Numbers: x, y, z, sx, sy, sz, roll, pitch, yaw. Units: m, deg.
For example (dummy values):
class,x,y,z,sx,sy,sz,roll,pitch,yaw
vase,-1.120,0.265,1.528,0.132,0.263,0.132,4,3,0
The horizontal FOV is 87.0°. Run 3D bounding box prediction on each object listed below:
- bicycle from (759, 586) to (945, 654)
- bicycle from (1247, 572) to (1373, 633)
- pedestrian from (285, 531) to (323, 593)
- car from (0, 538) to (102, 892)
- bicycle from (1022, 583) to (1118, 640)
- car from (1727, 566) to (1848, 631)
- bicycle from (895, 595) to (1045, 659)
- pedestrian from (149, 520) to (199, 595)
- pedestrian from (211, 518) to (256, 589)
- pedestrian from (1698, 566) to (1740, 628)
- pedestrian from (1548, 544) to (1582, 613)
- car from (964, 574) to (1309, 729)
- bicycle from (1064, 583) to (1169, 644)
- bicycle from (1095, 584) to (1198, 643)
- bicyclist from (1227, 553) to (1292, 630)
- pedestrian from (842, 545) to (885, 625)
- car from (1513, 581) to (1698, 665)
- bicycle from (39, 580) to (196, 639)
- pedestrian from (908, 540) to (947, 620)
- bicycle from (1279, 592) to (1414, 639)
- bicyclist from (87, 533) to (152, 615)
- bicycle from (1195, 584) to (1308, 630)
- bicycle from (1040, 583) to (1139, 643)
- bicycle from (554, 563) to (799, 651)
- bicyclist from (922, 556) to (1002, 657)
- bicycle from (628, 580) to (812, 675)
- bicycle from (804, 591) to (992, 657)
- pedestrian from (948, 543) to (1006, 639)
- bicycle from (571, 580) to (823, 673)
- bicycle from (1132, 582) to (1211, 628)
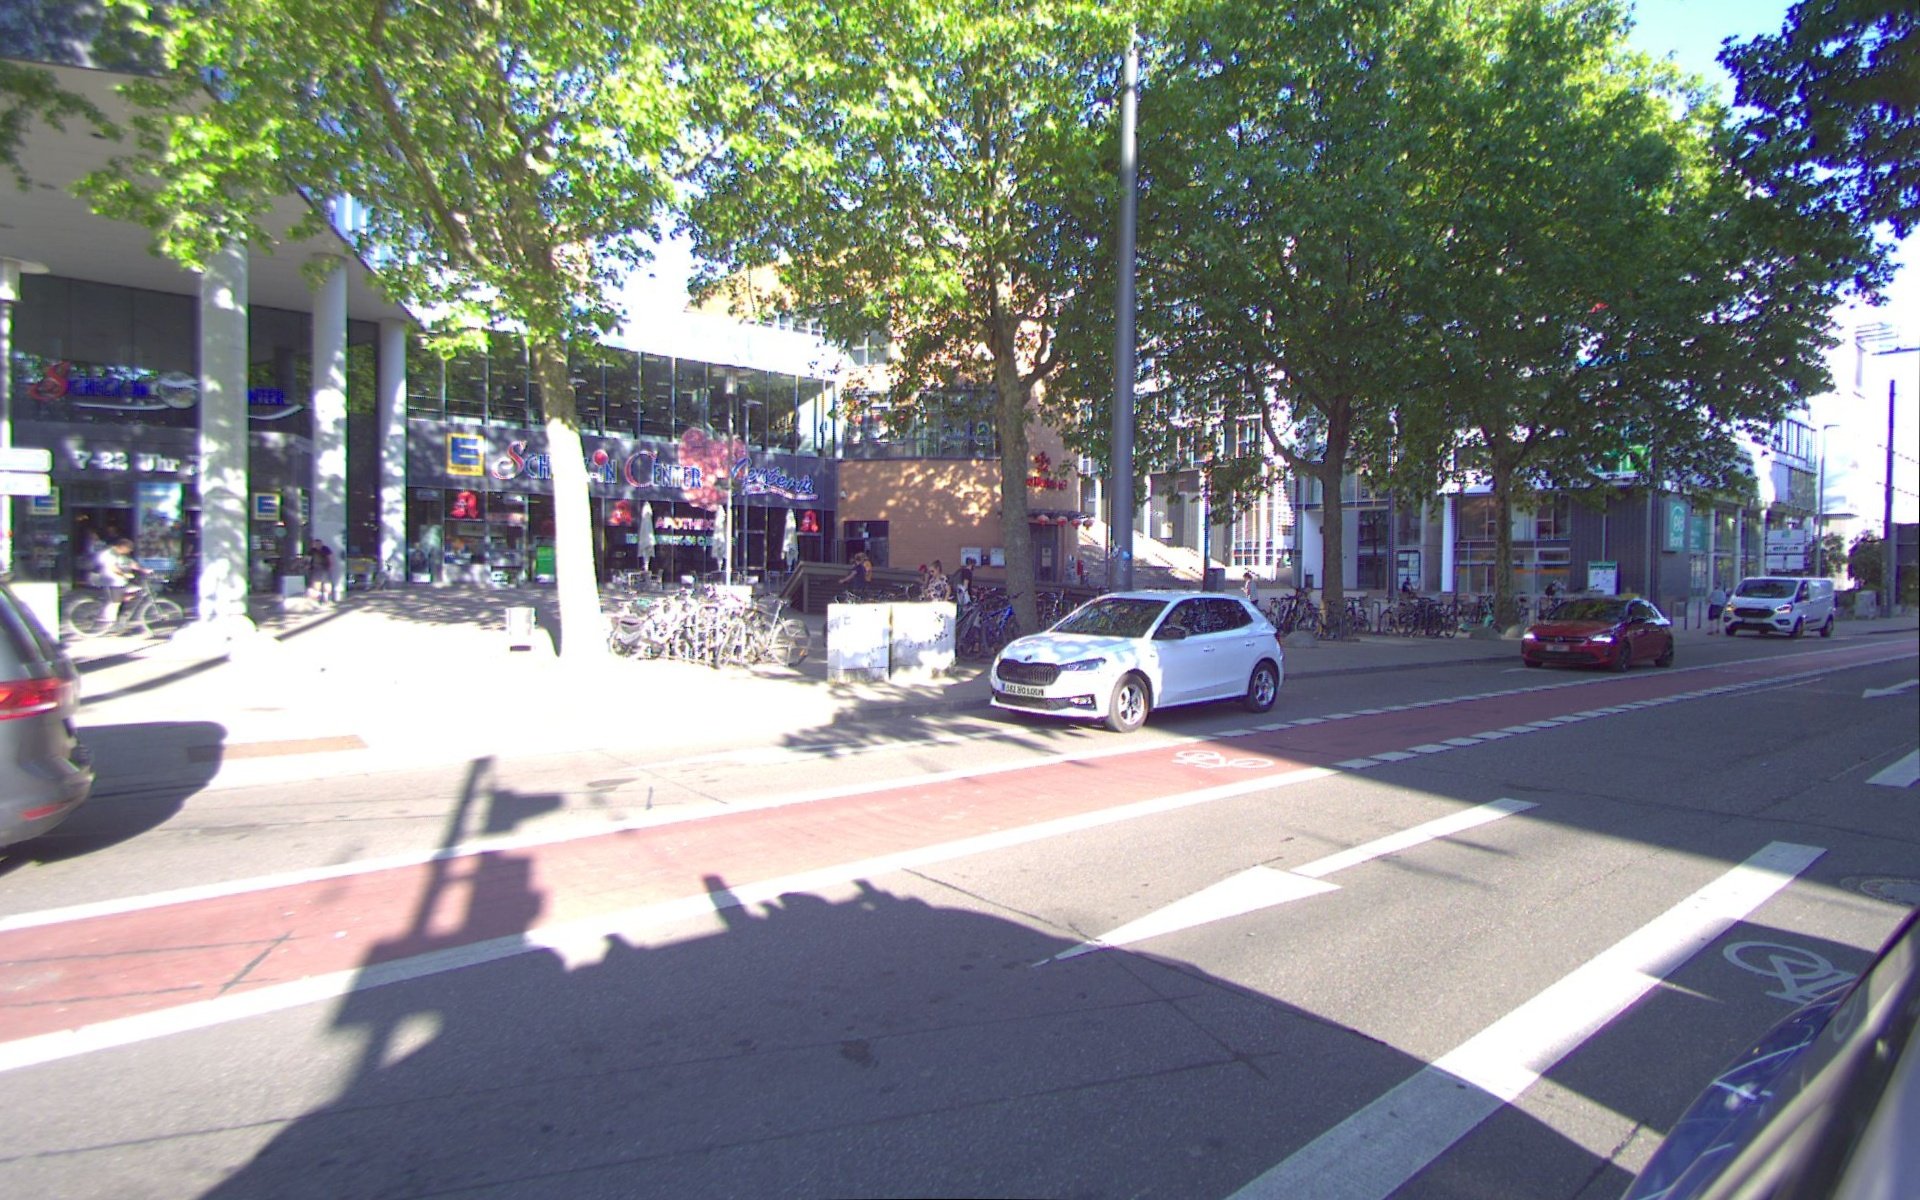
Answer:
class,x,y,z,sx,sy,sz,roll,pitch,yaw
bicycle,-1.918,0.317,18.517,3.353,1.013,1.051,-1,6,-41
bicycle,8.900,0.036,25.734,3.156,1.503,0.896,0,1,-19
pedestrian,-18.890,-1.091,29.142,0.820,1.765,0.647,0,1,-23
car,-6.363,0.547,4.120,4.317,1.656,1.707,-1,1,-43
bicycle,2.421,0.227,22.025,2.251,1.176,0.657,-1,1,-38
car,27.534,-0.076,33.587,5.811,1.989,1.933,-1,1,-38
bicycle,0.201,0.426,17.239,2.591,0.960,0.924,-1,1,-41
pedestrian,-21.902,-1.176,28.226,0.829,2.039,0.822,-1,0,-16
pedestrian,-21.234,-1.344,29.587,0.815,2.039,0.827,-1,0,-15
pedestrian,25.393,-0.111,33.844,0.959,2.039,0.816,1,0,-31
pedestrian,24.105,-0.857,40.344,0.967,2.681,0.897,-1,0,18
car,2.193,0.468,11.935,4.122,1.508,1.834,-1,1,-41
bicycle,3.233,0.248,20.815,2.355,1.176,0.751,-1,1,-39
bicycle,3.718,0.235,20.000,2.296,1.073,0.682,-1,2,-39
bicyclist,8.146,-0.257,27.587,1.132,2.038,1.301,-1,2,-23
pedestrian,-2.805,-0.451,29.537,1.195,2.276,1.052,-1,0,-3
car,12.999,0.402,20.298,4.118,1.508,1.836,-1,0,-38
bicycle,-15.643,0.166,18.852,2.149,1.026,0.603,0,3,-20
pedestrian,-0.952,-0.582,29.222,0.884,2.261,0.845,-1,0,-18
bicycle,9.439,0.358,24.710,3.136,1.038,0.979,-1,1,-18
bicyclist,-15.623,-0.492,18.820,0.735,1.503,0.594,0,3,-20
bicycle,7.991,0.156,27.960,1.124,1.097,3.343,0,3,-23
bicycle,2.764,0.251,21.413,2.263,1.176,0.671,-1,1,-38
bicycle,-4.472,0.151,16.312,3.743,1.236,0.729,3,-2,-35
bicyclist,0.037,0.093,17.114,1.005,1.640,0.902,-1,1,-40
bicycle,-3.497,0.362,14.898,2.504,1.235,0.758,-2,1,-35
bicycle,-1.033,0.383,17.809,3.353,1.014,1.050,-1,1,-41
pedestrian,0.381,-0.211,22.299,0.922,2.038,1.085,1,1,24
bicycle,-3.981,0.356,15.682,3.744,1.235,0.758,-2,1,-35
bicycle,5.940,0.107,28.273,2.653,1.215,0.698,-1,1,-41
